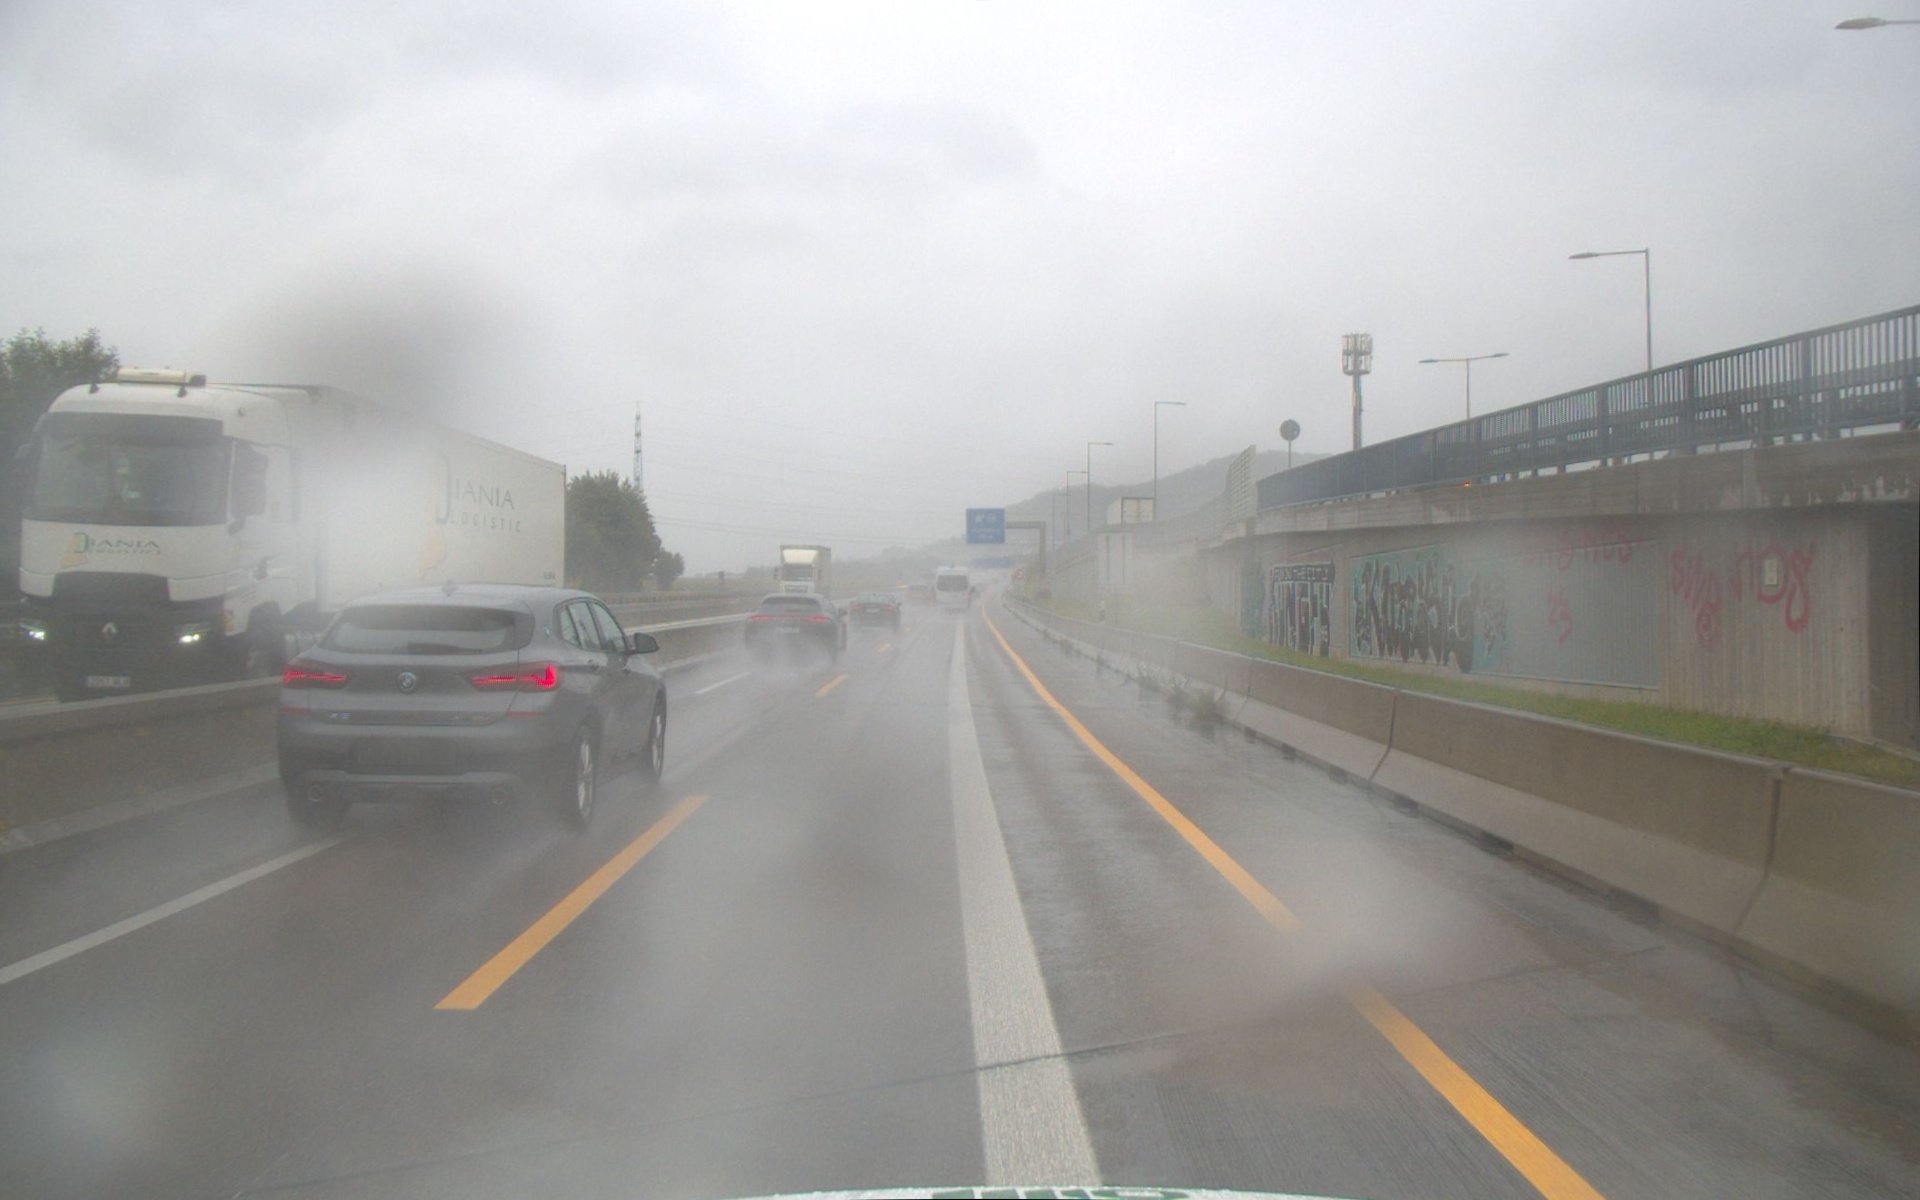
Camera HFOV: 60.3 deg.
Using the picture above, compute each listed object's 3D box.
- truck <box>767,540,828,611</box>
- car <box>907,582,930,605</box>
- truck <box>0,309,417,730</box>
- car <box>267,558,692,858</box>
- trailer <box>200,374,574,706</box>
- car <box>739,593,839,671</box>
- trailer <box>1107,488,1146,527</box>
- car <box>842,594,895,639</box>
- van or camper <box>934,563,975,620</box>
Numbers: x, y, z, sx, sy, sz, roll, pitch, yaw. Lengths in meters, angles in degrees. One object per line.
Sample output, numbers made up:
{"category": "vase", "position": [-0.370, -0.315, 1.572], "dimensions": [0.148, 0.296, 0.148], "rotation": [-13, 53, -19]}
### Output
{"category": "truck", "position": [-10.298, -1.465, 105.713], "dimensions": [2.943, 4.239, 9.830], "rotation": [-1, -1, 0]}
{"category": "car", "position": [-2.938, -0.422, 116.332], "dimensions": [1.535, 1.506, 2.820], "rotation": [-2, -1, -2]}
{"category": "truck", "position": [-9.490, -0.875, 21.747], "dimensions": [2.507, 4.684, 6.451], "rotation": [1, -1, 0]}
{"category": "car", "position": [-3.023, 0.614, 11.496], "dimensions": [1.666, 1.626, 4.843], "rotation": [1, -1, -2]}
{"category": "trailer", "position": [-9.524, -0.800, 29.474], "dimensions": [2.495, 4.670, 12.007], "rotation": [1, -1, 0]}
{"category": "car", "position": [-3.579, 0.660, 35.231], "dimensions": [1.807, 1.517, 4.259], "rotation": [1, -1, -2]}
{"category": "trailer", "position": [13.134, -7.265, 131.200], "dimensions": [1.952, 2.143, 13.770], "rotation": [1, 0, 1]}
{"category": "car", "position": [-3.345, 0.578, 60.952], "dimensions": [1.807, 1.517, 4.260], "rotation": [-2, 1, -2]}
{"category": "van or camper", "position": [-0.320, -0.411, 85.427], "dimensions": [1.956, 2.826, 4.048], "rotation": [1, -1, -2]}
